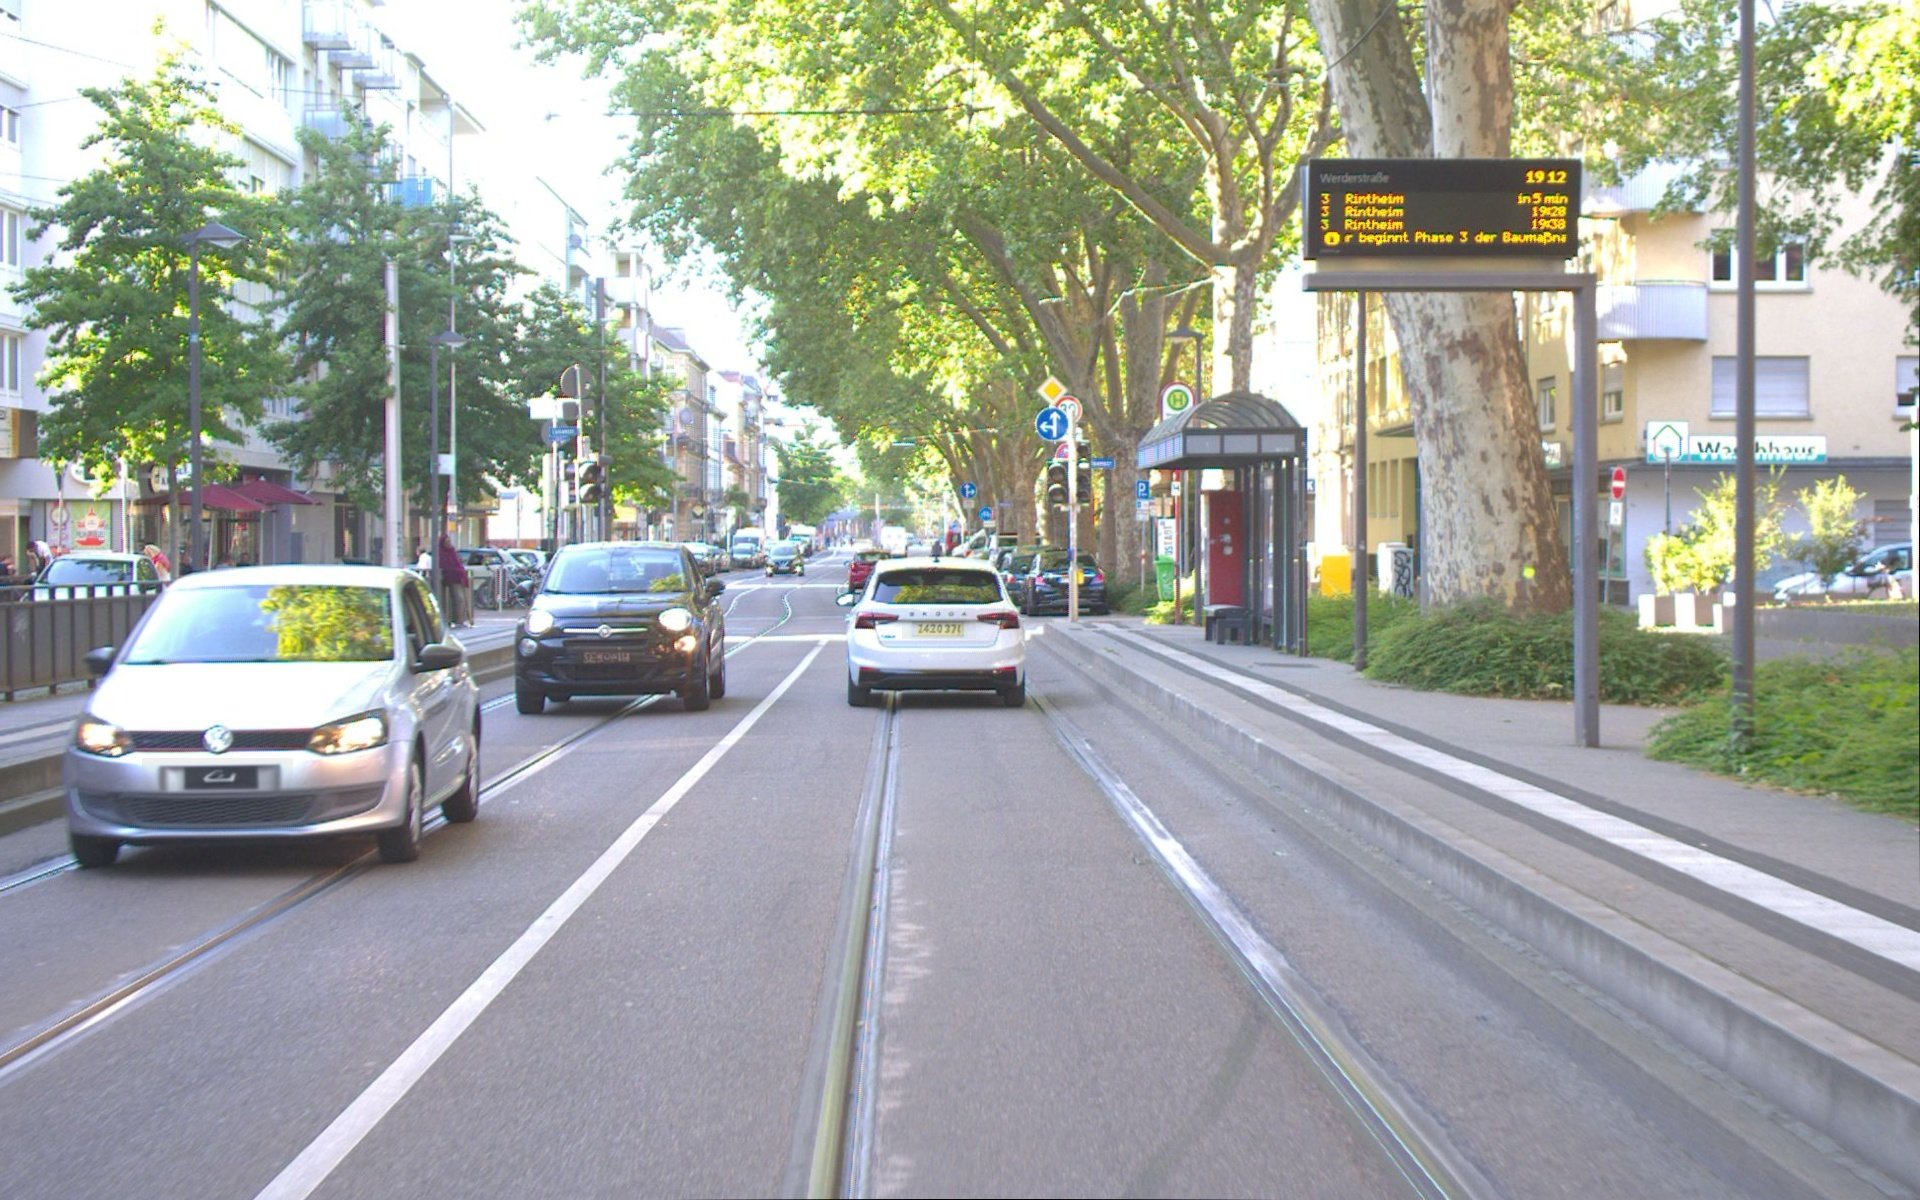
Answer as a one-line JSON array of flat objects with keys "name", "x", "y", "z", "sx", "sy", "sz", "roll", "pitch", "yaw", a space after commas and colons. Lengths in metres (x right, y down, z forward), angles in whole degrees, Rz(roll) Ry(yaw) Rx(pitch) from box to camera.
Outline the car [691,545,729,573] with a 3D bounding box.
[{"name": "car", "x": -13.608, "y": -2.240, "z": 187.195, "sx": 1.788, "sy": 1.508, "sz": 4.000, "roll": 0, "pitch": 1, "yaw": -1}]

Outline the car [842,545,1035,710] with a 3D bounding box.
[{"name": "car", "x": -0.229, "y": 0.224, "z": 34.033, "sx": 1.788, "sy": 1.508, "sz": 4.000, "roll": 0, "pitch": 1, "yaw": -1}]

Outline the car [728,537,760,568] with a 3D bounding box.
[{"name": "car", "x": -14.569, "y": -3.237, "z": 232.011, "sx": 1.991, "sy": 2.067, "sz": 4.000, "roll": 0, "pitch": 1, "yaw": -1}]

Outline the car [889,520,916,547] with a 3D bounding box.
[{"name": "car", "x": -4.105, "y": -4.765, "z": 245.413, "sx": 1.866, "sy": 1.886, "sz": 4.000, "roll": 0, "pitch": 1, "yaw": -1}]

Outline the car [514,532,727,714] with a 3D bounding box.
[{"name": "car", "x": -3.202, "y": 0.168, "z": 33.057, "sx": 1.693, "sy": 1.638, "sz": 4.000, "roll": 0, "pitch": 1, "yaw": -1}]

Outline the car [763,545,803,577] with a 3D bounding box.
[{"name": "car", "x": -8.457, "y": -1.875, "z": 164.433, "sx": 1.788, "sy": 1.508, "sz": 4.000, "roll": 0, "pitch": 1, "yaw": -1}]

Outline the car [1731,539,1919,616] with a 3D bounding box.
[{"name": "car", "x": 16.440, "y": -0.423, "z": 63.489, "sx": 3.987, "sy": 1.368, "sz": 1.867, "roll": 0, "pitch": 1, "yaw": 1}]

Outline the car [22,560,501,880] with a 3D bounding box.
[{"name": "car", "x": -3.453, "y": 0.526, "z": 17.678, "sx": 1.693, "sy": 1.414, "sz": 4.000, "roll": 0, "pitch": 1, "yaw": -1}]

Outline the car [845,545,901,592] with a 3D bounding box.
[{"name": "car", "x": -2.865, "y": -1.056, "z": 113.867, "sx": 1.788, "sy": 1.508, "sz": 4.000, "roll": 0, "pitch": 1, "yaw": -1}]

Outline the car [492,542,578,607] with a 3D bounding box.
[{"name": "car", "x": -10.720, "y": -0.657, "z": 86.934, "sx": 1.678, "sy": 1.543, "sz": 4.000, "roll": 2, "pitch": 1, "yaw": -1}]

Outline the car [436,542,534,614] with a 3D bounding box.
[{"name": "car", "x": -10.807, "y": -0.519, "z": 78.422, "sx": 1.678, "sy": 1.543, "sz": 4.000, "roll": 2, "pitch": 1, "yaw": -1}]

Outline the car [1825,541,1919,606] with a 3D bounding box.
[{"name": "car", "x": 20.835, "y": -0.588, "z": 73.984, "sx": 3.987, "sy": 1.368, "sz": 1.867, "roll": 0, "pitch": 1, "yaw": 1}]

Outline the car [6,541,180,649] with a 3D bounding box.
[{"name": "car", "x": -13.282, "y": -0.108, "z": 52.874, "sx": 1.678, "sy": 1.543, "sz": 4.000, "roll": 2, "pitch": 1, "yaw": -1}]

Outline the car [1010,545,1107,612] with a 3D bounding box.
[{"name": "car", "x": 2.184, "y": -0.498, "z": 77.138, "sx": 1.993, "sy": 1.448, "sz": 4.000, "roll": 0, "pitch": 1, "yaw": -1}]

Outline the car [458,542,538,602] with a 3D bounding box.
[{"name": "car", "x": -12.689, "y": -0.782, "z": 94.676, "sx": 1.678, "sy": 1.543, "sz": 4.000, "roll": 2, "pitch": 1, "yaw": -1}]

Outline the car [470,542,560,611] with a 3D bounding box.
[{"name": "car", "x": -10.680, "y": -0.590, "z": 82.740, "sx": 1.678, "sy": 1.543, "sz": 4.000, "roll": 2, "pitch": 1, "yaw": -1}]

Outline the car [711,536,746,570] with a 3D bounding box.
[{"name": "car", "x": -14.401, "y": -2.958, "z": 214.106, "sx": 1.991, "sy": 2.067, "sz": 4.000, "roll": 0, "pitch": 1, "yaw": -1}]

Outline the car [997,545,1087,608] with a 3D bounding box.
[{"name": "car", "x": 1.927, "y": -0.580, "z": 82.223, "sx": 1.993, "sy": 1.448, "sz": 4.000, "roll": 0, "pitch": 1, "yaw": -1}]

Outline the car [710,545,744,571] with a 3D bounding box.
[{"name": "car", "x": -13.904, "y": -2.535, "z": 205.407, "sx": 1.788, "sy": 1.508, "sz": 4.000, "roll": 0, "pitch": 1, "yaw": -1}]

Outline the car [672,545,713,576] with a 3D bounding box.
[{"name": "car", "x": -13.298, "y": -1.984, "z": 171.203, "sx": 1.788, "sy": 1.508, "sz": 4.000, "roll": 0, "pitch": 1, "yaw": -1}]
